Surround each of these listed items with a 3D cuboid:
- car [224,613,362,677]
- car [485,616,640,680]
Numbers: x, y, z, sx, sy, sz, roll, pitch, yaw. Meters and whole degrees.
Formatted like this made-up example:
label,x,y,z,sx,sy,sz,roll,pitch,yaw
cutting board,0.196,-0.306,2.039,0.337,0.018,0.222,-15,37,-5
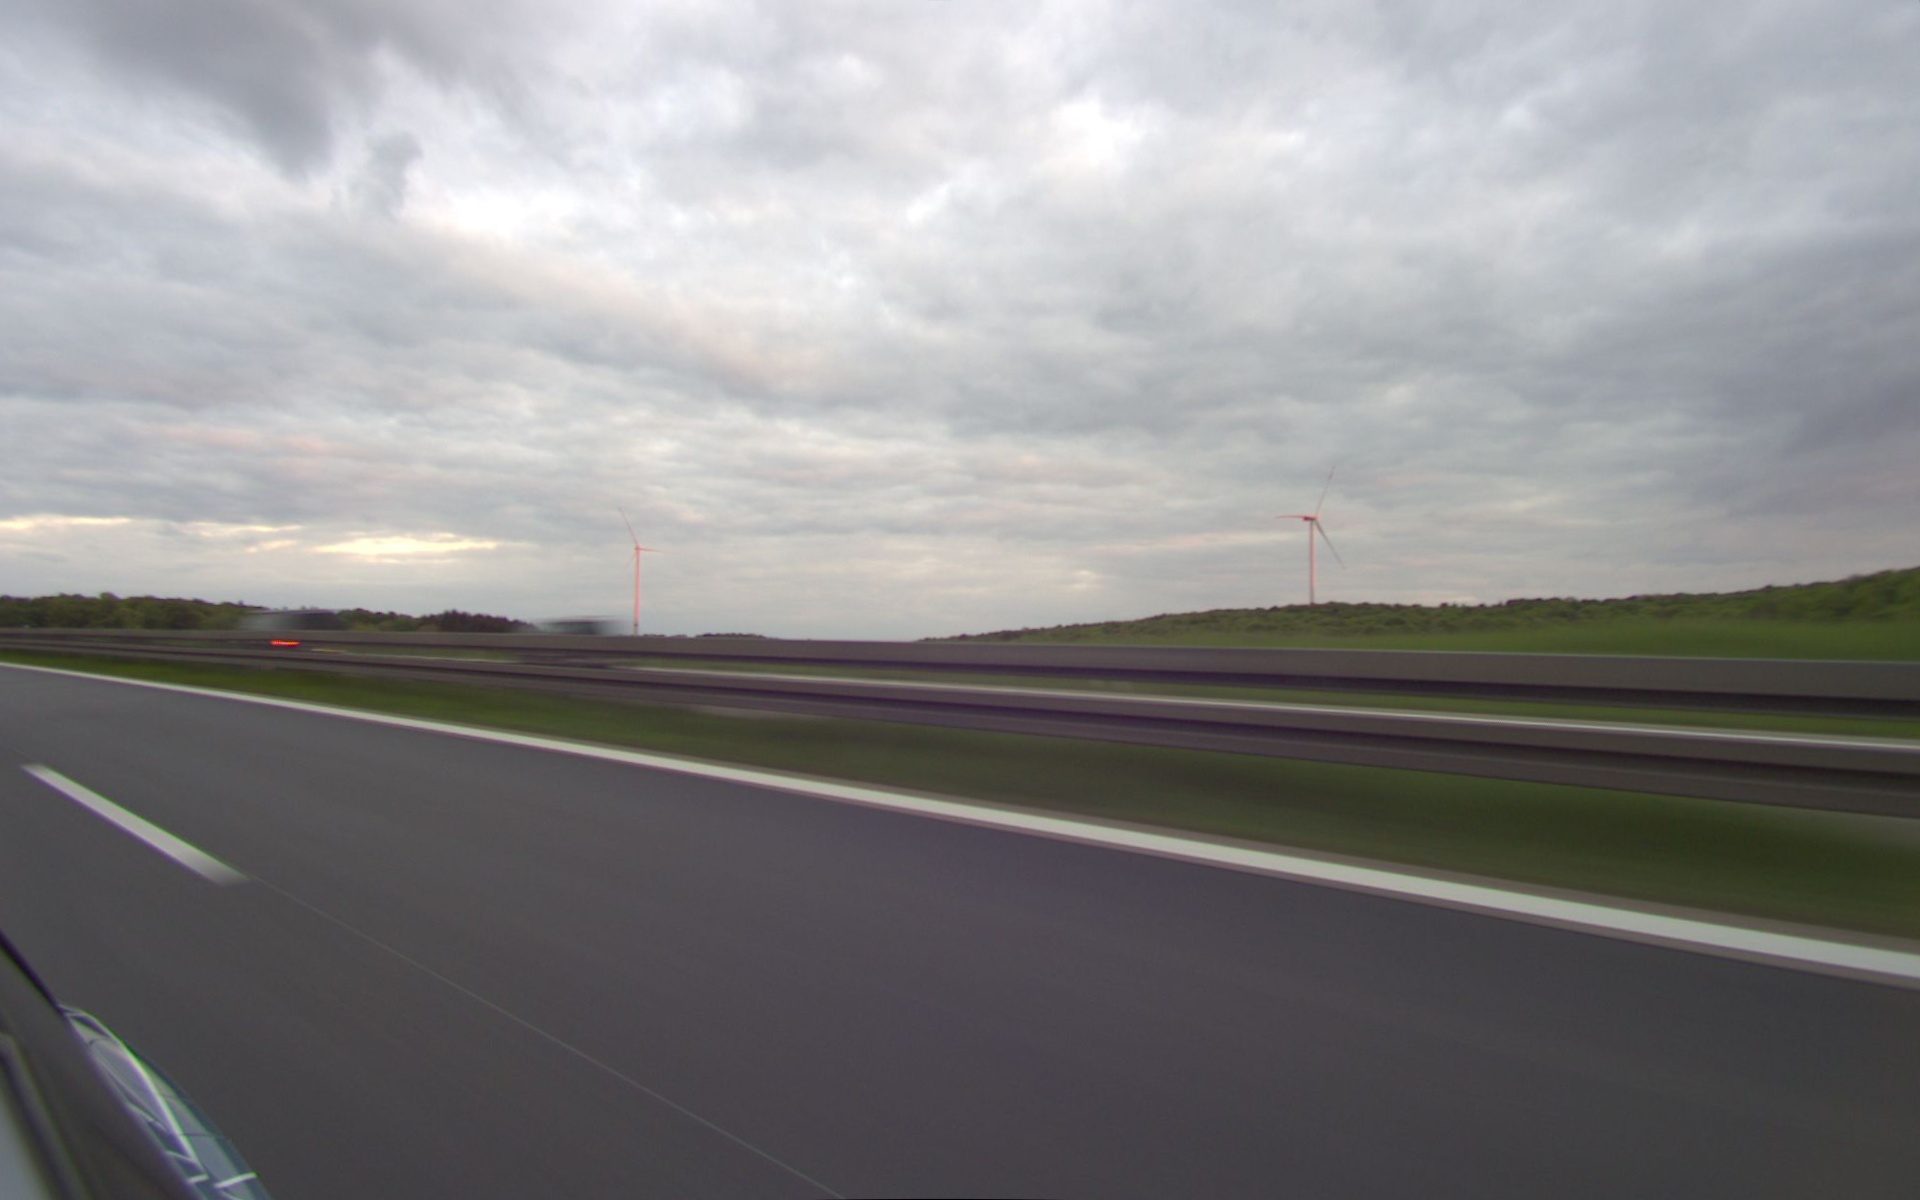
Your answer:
label,x,y,z,sx,sy,sz,roll,pitch,yaw
car,-21.207,1.377,32.099,5.123,1.886,2.083,-1,-2,37
car,-11.341,1.316,28.749,4.663,1.672,2.006,-1,-2,37
